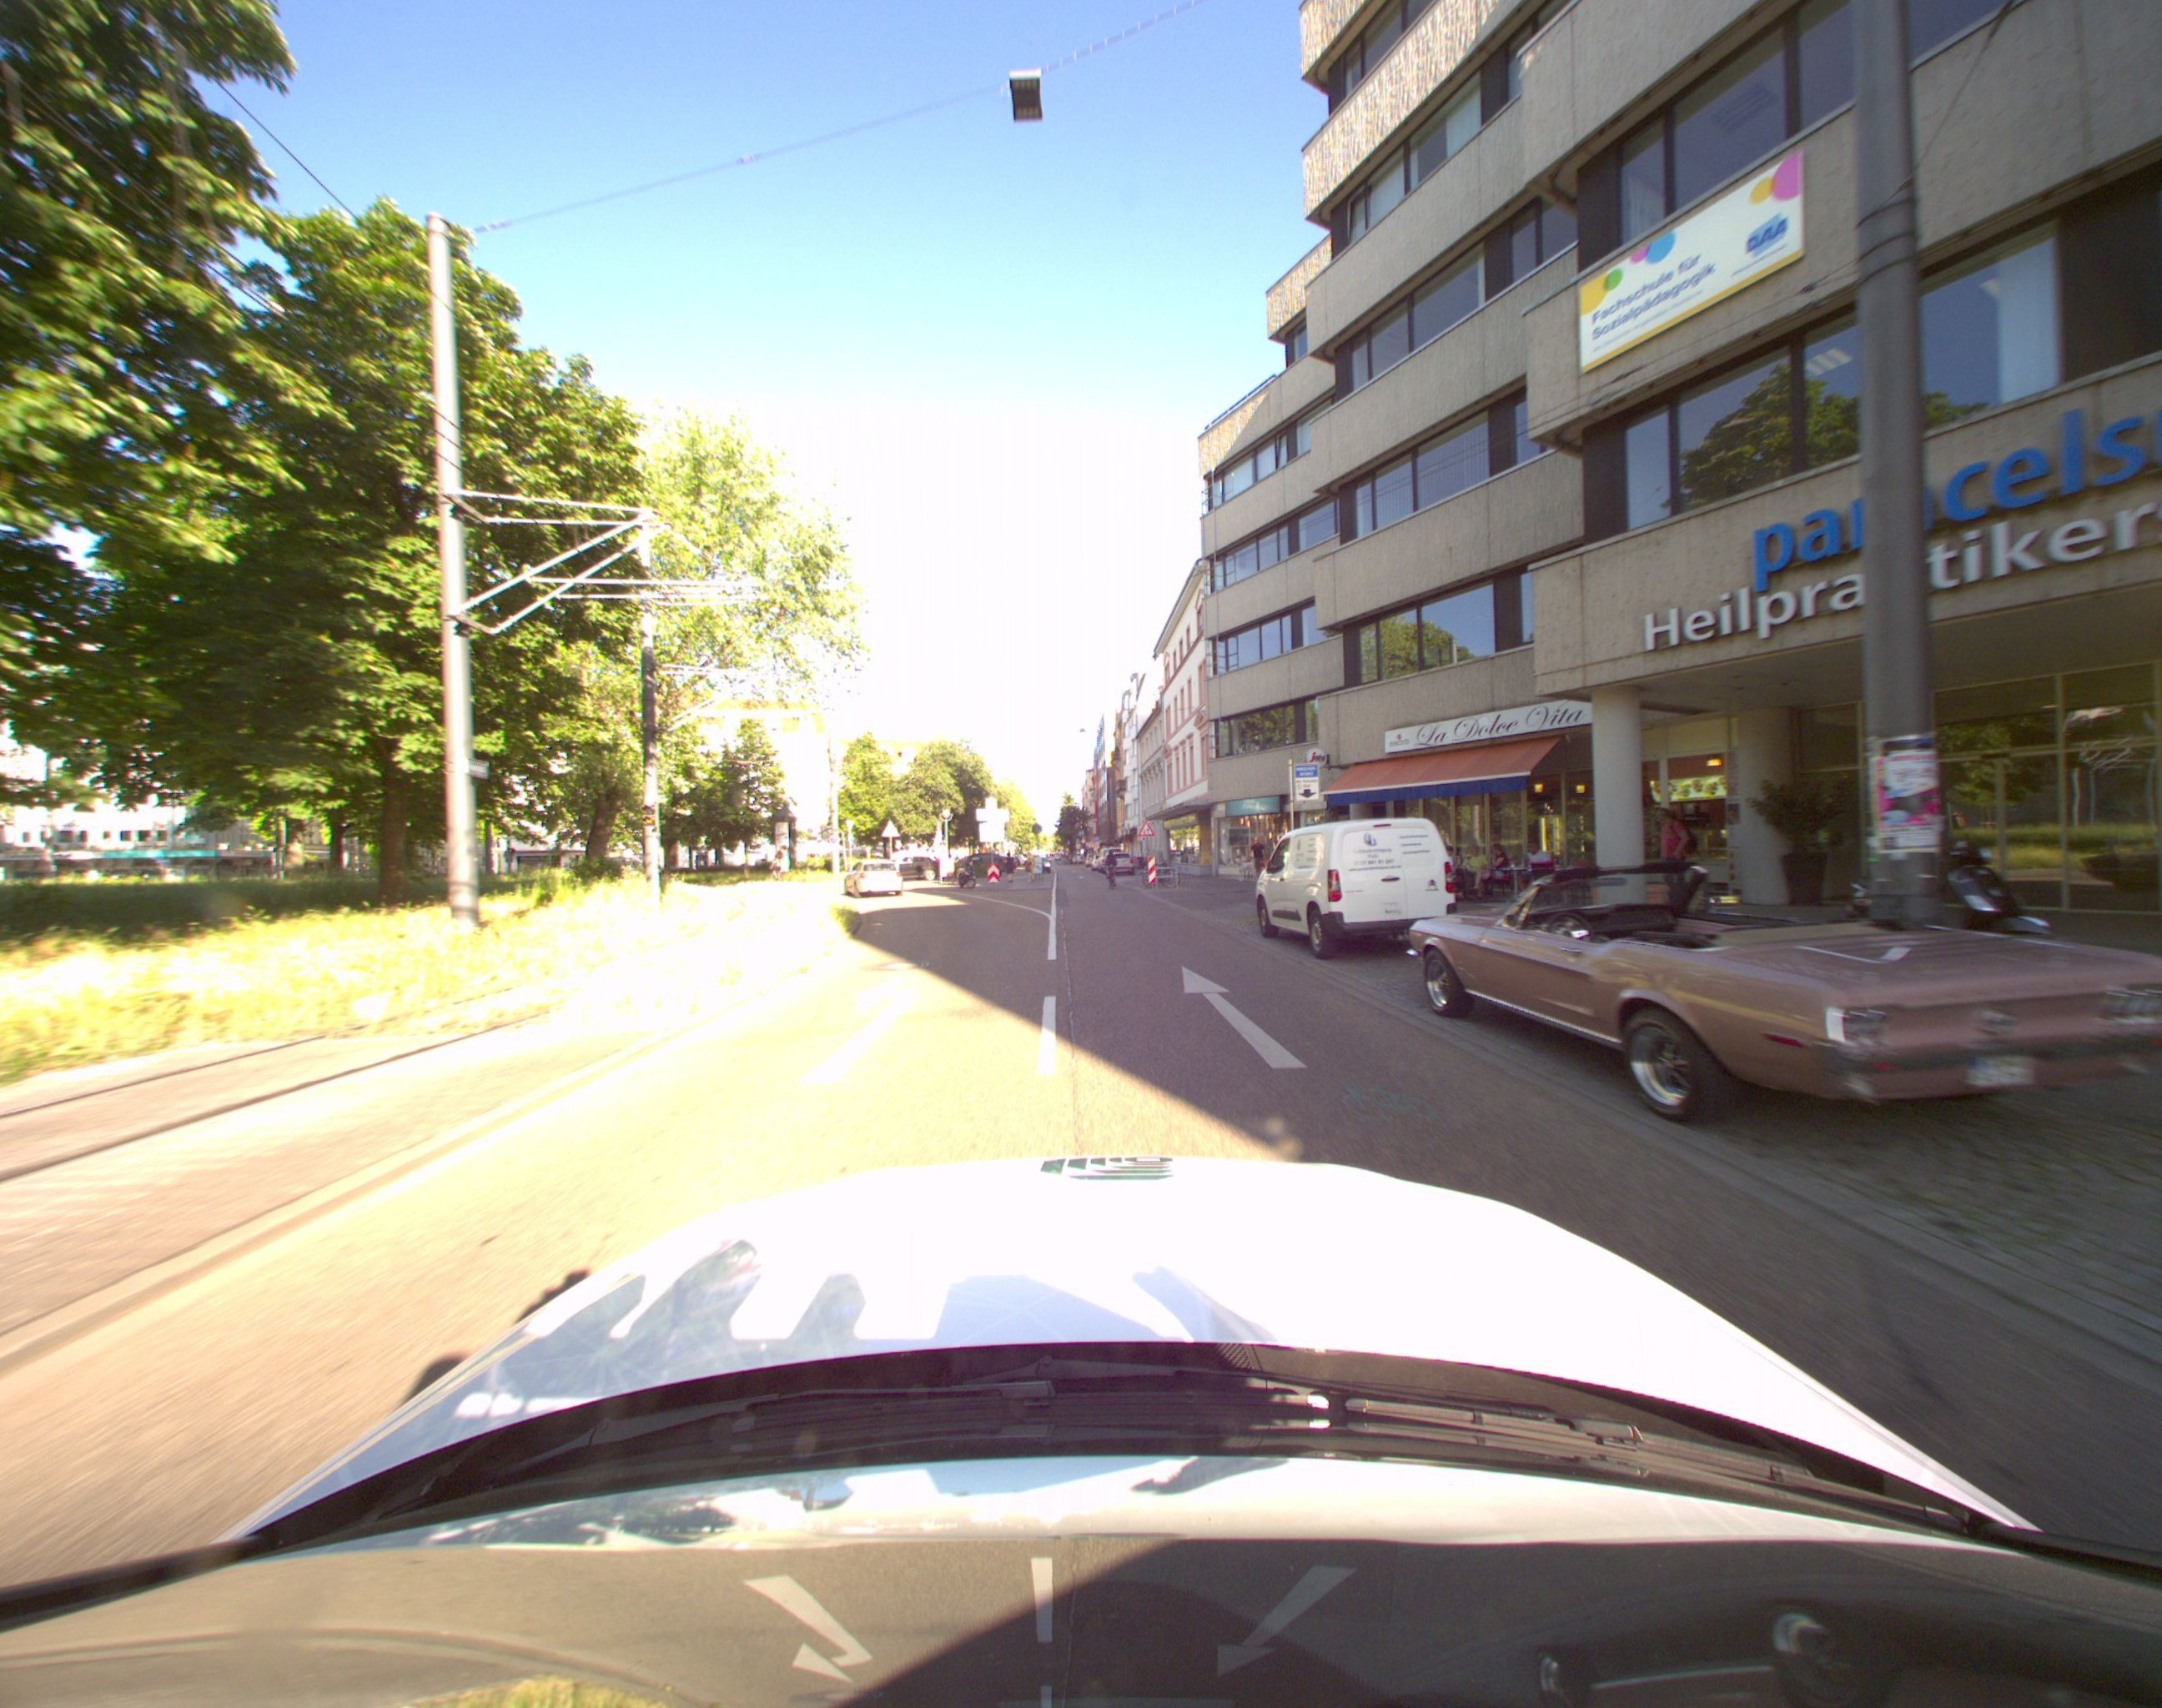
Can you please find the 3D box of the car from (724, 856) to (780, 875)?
[{"bbox_3d":[-36.292,1.248,89.908,5.608,2.014,1.801,1,-1,-29],"label":"car"}]

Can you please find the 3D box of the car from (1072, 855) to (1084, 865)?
[{"bbox_3d":[-0.437,1.005,138.002,1.987,1.618,4.010,0,-1,0],"label":"car"}]

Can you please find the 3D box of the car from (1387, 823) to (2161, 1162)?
[{"bbox_3d":[3.967,0.638,5.878,1.768,1.454,4.730,0,-1,0],"label":"car"}]

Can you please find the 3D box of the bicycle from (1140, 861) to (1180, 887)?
[{"bbox_3d":[3.348,0.849,34.471,1.667,1.062,0.345,0,-1,13],"label":"bicycle"}]

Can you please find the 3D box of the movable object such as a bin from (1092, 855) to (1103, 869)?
[{"bbox_3d":[1.745,0.838,86.228,1.069,1.457,1.494,-4,1,3],"label":"movable object such as a bin"}]

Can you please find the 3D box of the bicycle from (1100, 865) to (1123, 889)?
[{"bbox_3d":[1.318,0.979,35.006,0.648,0.958,2.704,0,-1,9],"label":"bicycle"}]

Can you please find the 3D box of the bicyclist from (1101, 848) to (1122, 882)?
[{"bbox_3d":[1.308,0.488,35.016,0.781,1.453,1.098,0,-1,9],"label":"bicyclist"}]

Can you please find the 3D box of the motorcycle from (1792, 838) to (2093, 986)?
[{"bbox_3d":[7.875,0.494,7.633,0.759,1.155,2.052,-4,-2,8],"label":"motorcycle"}]

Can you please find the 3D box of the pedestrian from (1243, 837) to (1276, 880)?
[{"bbox_3d":[7.435,0.199,33.926,1.128,1.743,1.022,0,-1,0],"label":"pedestrian"}]

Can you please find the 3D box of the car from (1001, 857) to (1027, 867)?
[{"bbox_3d":[-10.671,1.269,130.160,3.976,1.508,1.999,0,-1,-2],"label":"car"}]

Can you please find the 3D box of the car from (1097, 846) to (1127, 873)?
[{"bbox_3d":[2.464,0.433,65.996,1.989,2.005,5.111,-1,0,-3],"label":"car"}]

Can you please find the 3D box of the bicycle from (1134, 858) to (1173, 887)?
[{"bbox_3d":[3.226,0.819,36.260,1.608,1.243,0.662,-1,-1,18],"label":"bicycle"}]

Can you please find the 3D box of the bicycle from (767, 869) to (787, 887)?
[{"bbox_3d":[-19.015,1.486,50.950,0.814,1.069,2.559,1,-1,-29],"label":"bicycle"}]

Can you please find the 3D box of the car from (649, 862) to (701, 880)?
[{"bbox_3d":[-43.207,1.801,86.820,4.879,1.804,1.894,0,-1,-24],"label":"car"}]

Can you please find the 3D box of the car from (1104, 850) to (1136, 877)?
[{"bbox_3d":[2.636,0.668,56.064,1.741,1.739,4.956,0,-1,-2],"label":"car"}]

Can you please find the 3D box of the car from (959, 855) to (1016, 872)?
[{"bbox_3d":[-8.405,0.869,73.146,4.859,1.488,1.750,0,-1,-26],"label":"car"}]

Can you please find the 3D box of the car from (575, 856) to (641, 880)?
[{"bbox_3d":[-46.145,1.363,79.570,5.363,2.314,1.983,0,-1,-26],"label":"car"}]

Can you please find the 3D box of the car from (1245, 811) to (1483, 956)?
[{"bbox_3d":[3.980,0.408,12.345,1.988,1.813,4.305,0,-1,-2],"label":"car"}]

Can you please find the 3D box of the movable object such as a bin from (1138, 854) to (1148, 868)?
[{"bbox_3d":[5.205,0.607,68.402,0.792,1.076,0.660,-4,-1,0],"label":"movable object such as a bin"}]

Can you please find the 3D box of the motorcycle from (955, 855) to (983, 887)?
[{"bbox_3d":[-4.920,0.752,35.750,0.749,1.374,1.746,1,-1,-25],"label":"motorcycle"}]

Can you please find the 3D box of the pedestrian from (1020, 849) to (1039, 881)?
[{"bbox_3d":[-2.745,0.603,43.336,0.795,1.699,0.674,-1,-2,39],"label":"pedestrian"}]

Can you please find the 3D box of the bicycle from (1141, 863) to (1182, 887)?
[{"bbox_3d":[3.445,0.892,34.843,1.691,1.004,0.429,0,-1,14],"label":"bicycle"}]

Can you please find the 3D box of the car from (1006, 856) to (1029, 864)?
[{"bbox_3d":[-11.410,1.090,145.945,3.976,1.508,1.893,0,-1,-2],"label":"car"}]

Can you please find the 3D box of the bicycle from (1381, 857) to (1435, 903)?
[{"bbox_3d":[7.566,0.593,18.893,0.561,1.034,1.643,0,-1,-1],"label":"bicycle"}]

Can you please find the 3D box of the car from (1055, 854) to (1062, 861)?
[{"bbox_3d":[-5.760,0.882,206.884,1.865,1.556,3.997,0,-1,-1],"label":"car"}]

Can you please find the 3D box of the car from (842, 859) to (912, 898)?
[{"bbox_3d":[-8.077,0.936,32.030,2.003,1.423,4.163,0,-1,-24],"label":"car"}]

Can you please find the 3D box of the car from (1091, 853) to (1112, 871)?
[{"bbox_3d":[1.873,0.772,75.514,1.714,1.515,3.579,-3,-1,-2],"label":"car"}]

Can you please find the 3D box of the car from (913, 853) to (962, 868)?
[{"bbox_3d":[-16.670,0.770,94.713,5.295,1.800,2.143,1,-1,-29],"label":"car"}]

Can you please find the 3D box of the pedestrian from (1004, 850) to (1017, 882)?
[{"bbox_3d":[-3.727,0.640,43.125,0.634,1.672,0.692,0,-1,-2],"label":"pedestrian"}]

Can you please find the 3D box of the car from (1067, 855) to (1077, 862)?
[{"bbox_3d":[-1.814,0.969,170.148,1.989,1.453,3.996,-1,0,-2],"label":"car"}]

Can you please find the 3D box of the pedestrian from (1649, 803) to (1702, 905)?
[{"bbox_3d":[10.953,0.008,15.006,0.697,1.816,0.721,-1,-2,42],"label":"pedestrian"}]

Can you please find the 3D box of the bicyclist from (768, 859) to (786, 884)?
[{"bbox_3d":[-19.076,1.087,51.063,0.934,1.507,0.817,1,-2,-29],"label":"bicyclist"}]

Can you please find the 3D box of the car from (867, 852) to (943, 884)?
[{"bbox_3d":[-10.207,0.804,47.204,3.886,1.682,1.792,-1,-1,-35],"label":"car"}]

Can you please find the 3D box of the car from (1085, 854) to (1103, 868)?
[{"bbox_3d":[1.556,0.855,96.700,1.894,1.675,4.820,0,-1,-2],"label":"car"}]

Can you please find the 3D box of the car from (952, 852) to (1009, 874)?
[{"bbox_3d":[-7.601,0.675,61.704,3.998,1.668,1.988,0,0,-18],"label":"car"}]

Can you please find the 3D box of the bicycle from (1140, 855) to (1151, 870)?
[{"bbox_3d":[5.163,0.674,65.070,0.479,1.186,1.727,-4,-2,16],"label":"bicycle"}]
